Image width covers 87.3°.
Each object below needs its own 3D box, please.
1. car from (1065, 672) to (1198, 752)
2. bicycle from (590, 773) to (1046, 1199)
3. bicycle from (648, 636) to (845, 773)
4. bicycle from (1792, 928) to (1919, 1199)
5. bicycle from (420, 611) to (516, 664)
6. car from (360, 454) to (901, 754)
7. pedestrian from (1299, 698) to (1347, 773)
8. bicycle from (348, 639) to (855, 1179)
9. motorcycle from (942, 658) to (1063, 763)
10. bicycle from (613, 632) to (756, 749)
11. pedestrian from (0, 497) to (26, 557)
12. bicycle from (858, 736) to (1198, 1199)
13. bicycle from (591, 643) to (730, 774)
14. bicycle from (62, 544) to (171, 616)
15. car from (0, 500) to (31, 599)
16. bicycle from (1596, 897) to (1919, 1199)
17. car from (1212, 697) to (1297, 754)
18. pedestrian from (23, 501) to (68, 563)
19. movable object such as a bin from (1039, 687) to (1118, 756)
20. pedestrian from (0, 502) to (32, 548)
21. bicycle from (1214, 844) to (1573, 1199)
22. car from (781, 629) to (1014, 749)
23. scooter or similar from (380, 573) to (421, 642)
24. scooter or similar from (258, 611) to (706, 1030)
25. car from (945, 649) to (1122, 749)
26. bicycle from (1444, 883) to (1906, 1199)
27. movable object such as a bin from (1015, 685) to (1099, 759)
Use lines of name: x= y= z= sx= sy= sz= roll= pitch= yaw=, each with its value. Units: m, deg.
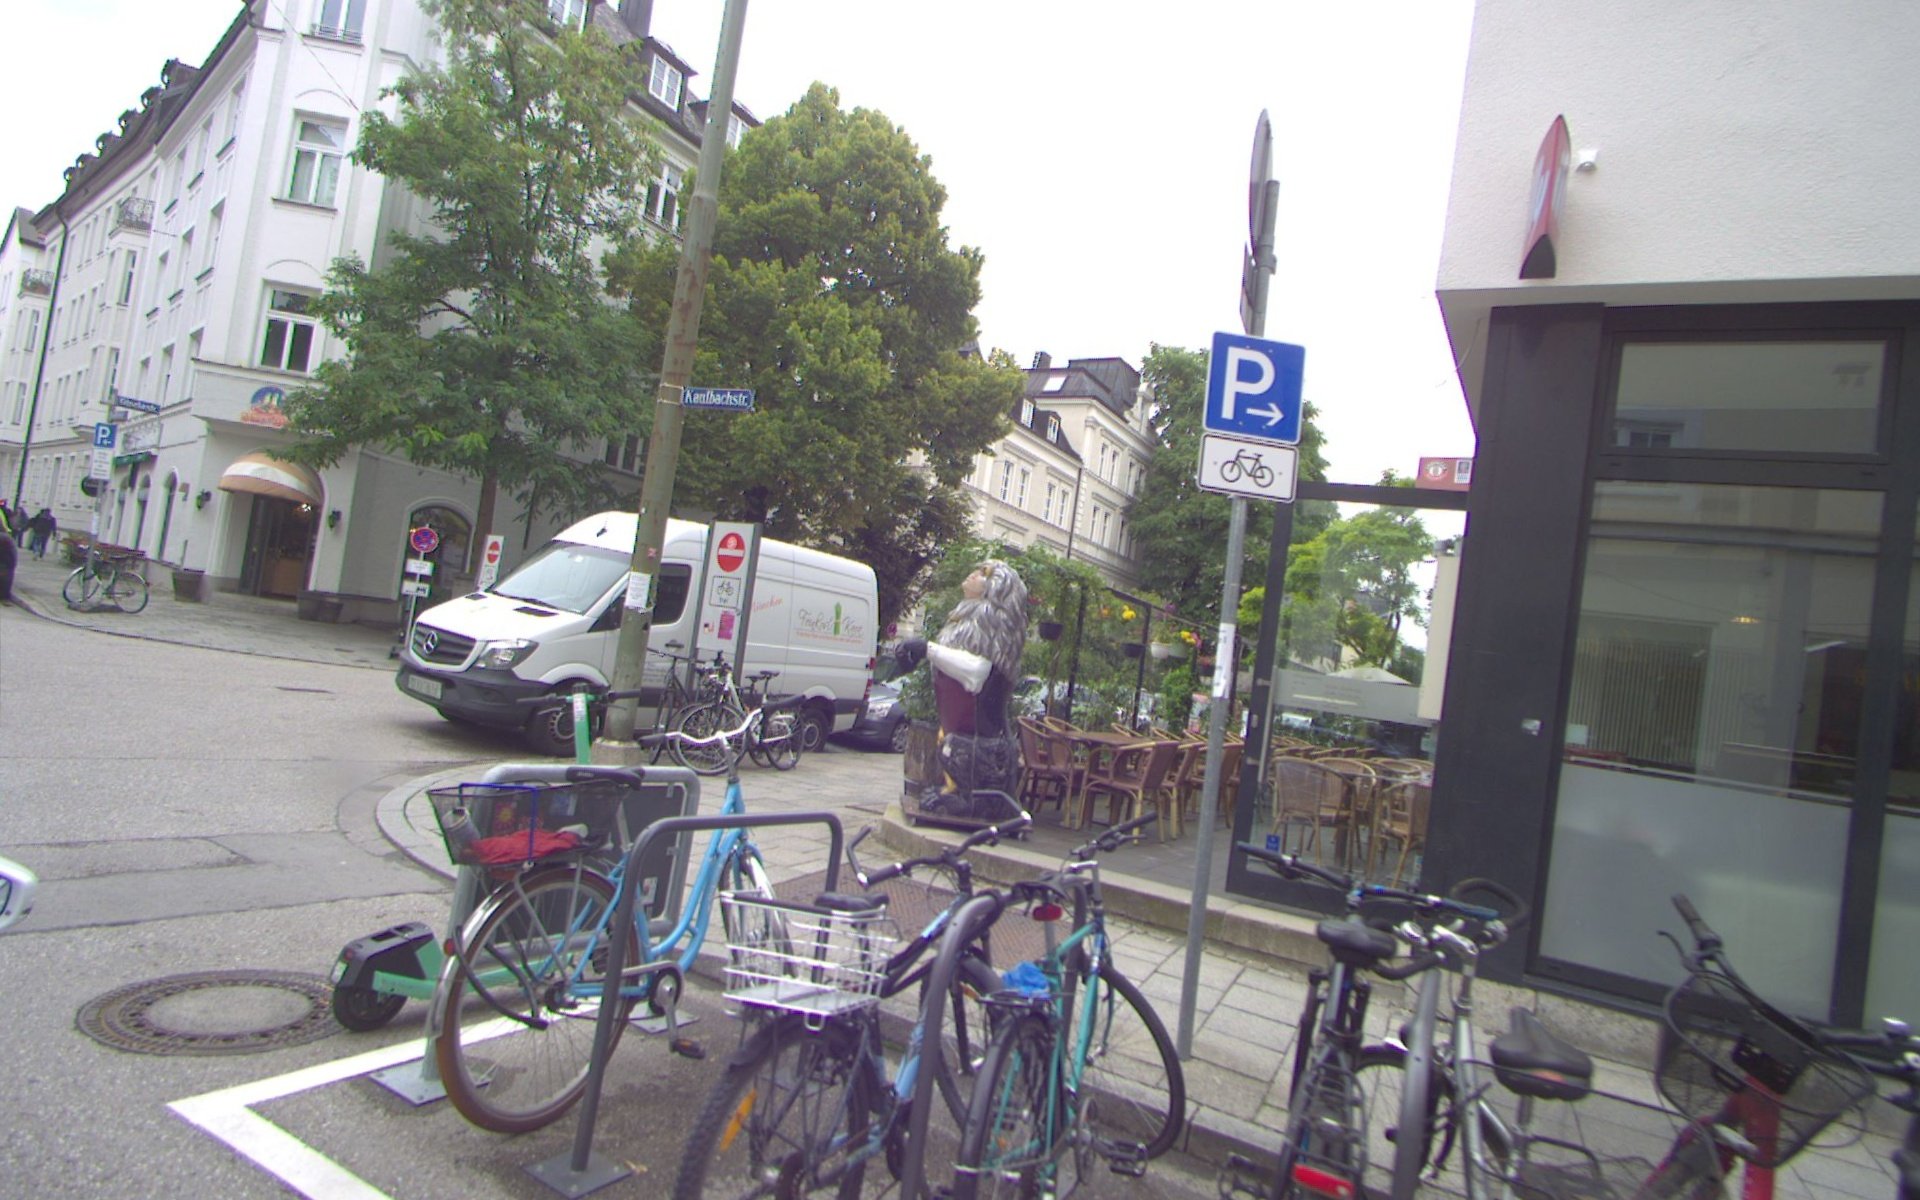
car: x=4.459 y=2.897 z=25.702 sx=1.834 sy=1.624 sz=3.998 roll=7 pitch=-4 yaw=32
bicycle: x=-0.254 y=1.067 z=2.634 sx=0.455 sy=1.081 sz=1.458 roll=8 pitch=-3 yaw=20
bicycle: x=-2.010 y=1.048 z=9.785 sx=0.582 sy=1.139 sz=1.906 roll=7 pitch=-4 yaw=32
bicycle: x=1.952 y=1.301 z=1.629 sx=0.401 sy=1.091 sz=1.881 roll=9 pitch=-3 yaw=24
bicycle: x=-8.981 y=0.689 z=18.384 sx=1.409 sy=0.792 sz=0.538 roll=9 pitch=-2 yaw=-41
car: x=-3.404 y=0.335 z=12.021 sx=2.026 sy=2.619 sz=5.909 roll=8 pitch=-3 yaw=32
pedestrian: x=9.121 y=3.410 z=25.278 sx=0.684 sy=1.734 sz=0.717 roll=10 pitch=-3 yaw=-41
bicycle: x=-1.023 y=0.868 z=3.266 sx=0.437 sy=1.299 sz=1.462 roll=7 pitch=-3 yaw=29
motorcycle: x=0.686 y=1.701 z=15.178 sx=0.648 sy=1.400 sz=2.176 roll=7 pitch=-3 yaw=33
bicycle: x=-2.804 y=0.959 z=10.393 sx=0.364 sy=1.083 sz=1.508 roll=7 pitch=-3 yaw=27
pedestrian: x=-31.367 y=-2.414 z=33.009 sx=1.009 sy=1.871 sz=0.778 roll=7 pitch=-3 yaw=42
bicycle: x=0.263 y=1.008 z=2.644 sx=0.388 sy=1.220 sz=1.458 roll=8 pitch=-3 yaw=20
bicycle: x=-2.820 y=1.054 z=9.570 sx=0.334 sy=1.140 sz=1.180 roll=7 pitch=-3 yaw=34
bicycle: x=-14.598 y=-0.344 z=17.409 sx=1.722 sy=1.011 sz=0.541 roll=8 pitch=1 yaw=18
car: x=-18.570 y=-1.158 z=18.313 sx=4.229 sy=1.652 sz=1.822 roll=6 pitch=-6 yaw=42
bicycle: x=1.623 y=1.288 z=1.935 sx=0.371 sy=1.091 sz=1.619 roll=9 pitch=-2 yaw=24
car: x=10.403 y=4.418 z=35.321 sx=1.834 sy=1.608 sz=4.000 roll=7 pitch=-4 yaw=30
pedestrian: x=-30.297 y=-2.253 z=33.334 sx=1.009 sy=1.871 sz=0.778 roll=7 pitch=-3 yaw=42
movable object such as a bin: x=2.247 y=2.304 z=18.997 sx=0.992 sy=1.123 sz=1.097 roll=7 pitch=-3 yaw=30
pedestrian: x=-41.446 y=-3.302 z=44.162 sx=0.776 sy=1.871 sz=0.849 roll=10 pitch=-3 yaw=-41
bicycle: x=0.922 y=1.243 z=2.290 sx=0.444 sy=1.091 sz=1.747 roll=9 pitch=-3 yaw=24
car: x=-0.890 y=1.552 z=16.696 sx=1.765 sy=1.463 sz=3.999 roll=10 pitch=-2 yaw=30
scooter or similar: x=-11.295 y=0.135 z=20.339 sx=0.423 sy=1.293 sz=1.272 roll=10 pitch=-2 yaw=-24
scooter or similar: x=-1.657 y=0.747 z=3.724 sx=0.410 sy=1.223 sz=1.357 roll=7 pitch=-3 yaw=29
car: x=1.663 y=2.151 z=21.191 sx=1.782 sy=1.585 sz=4.251 roll=9 pitch=-3 yaw=32
bicycle: x=1.254 y=1.279 z=2.050 sx=0.330 sy=1.091 sz=1.681 roll=9 pitch=-3 yaw=24
movable object such as a bin: x=1.744 y=2.192 z=17.999 sx=0.992 sy=1.123 sz=1.097 roll=7 pitch=-3 yaw=30
